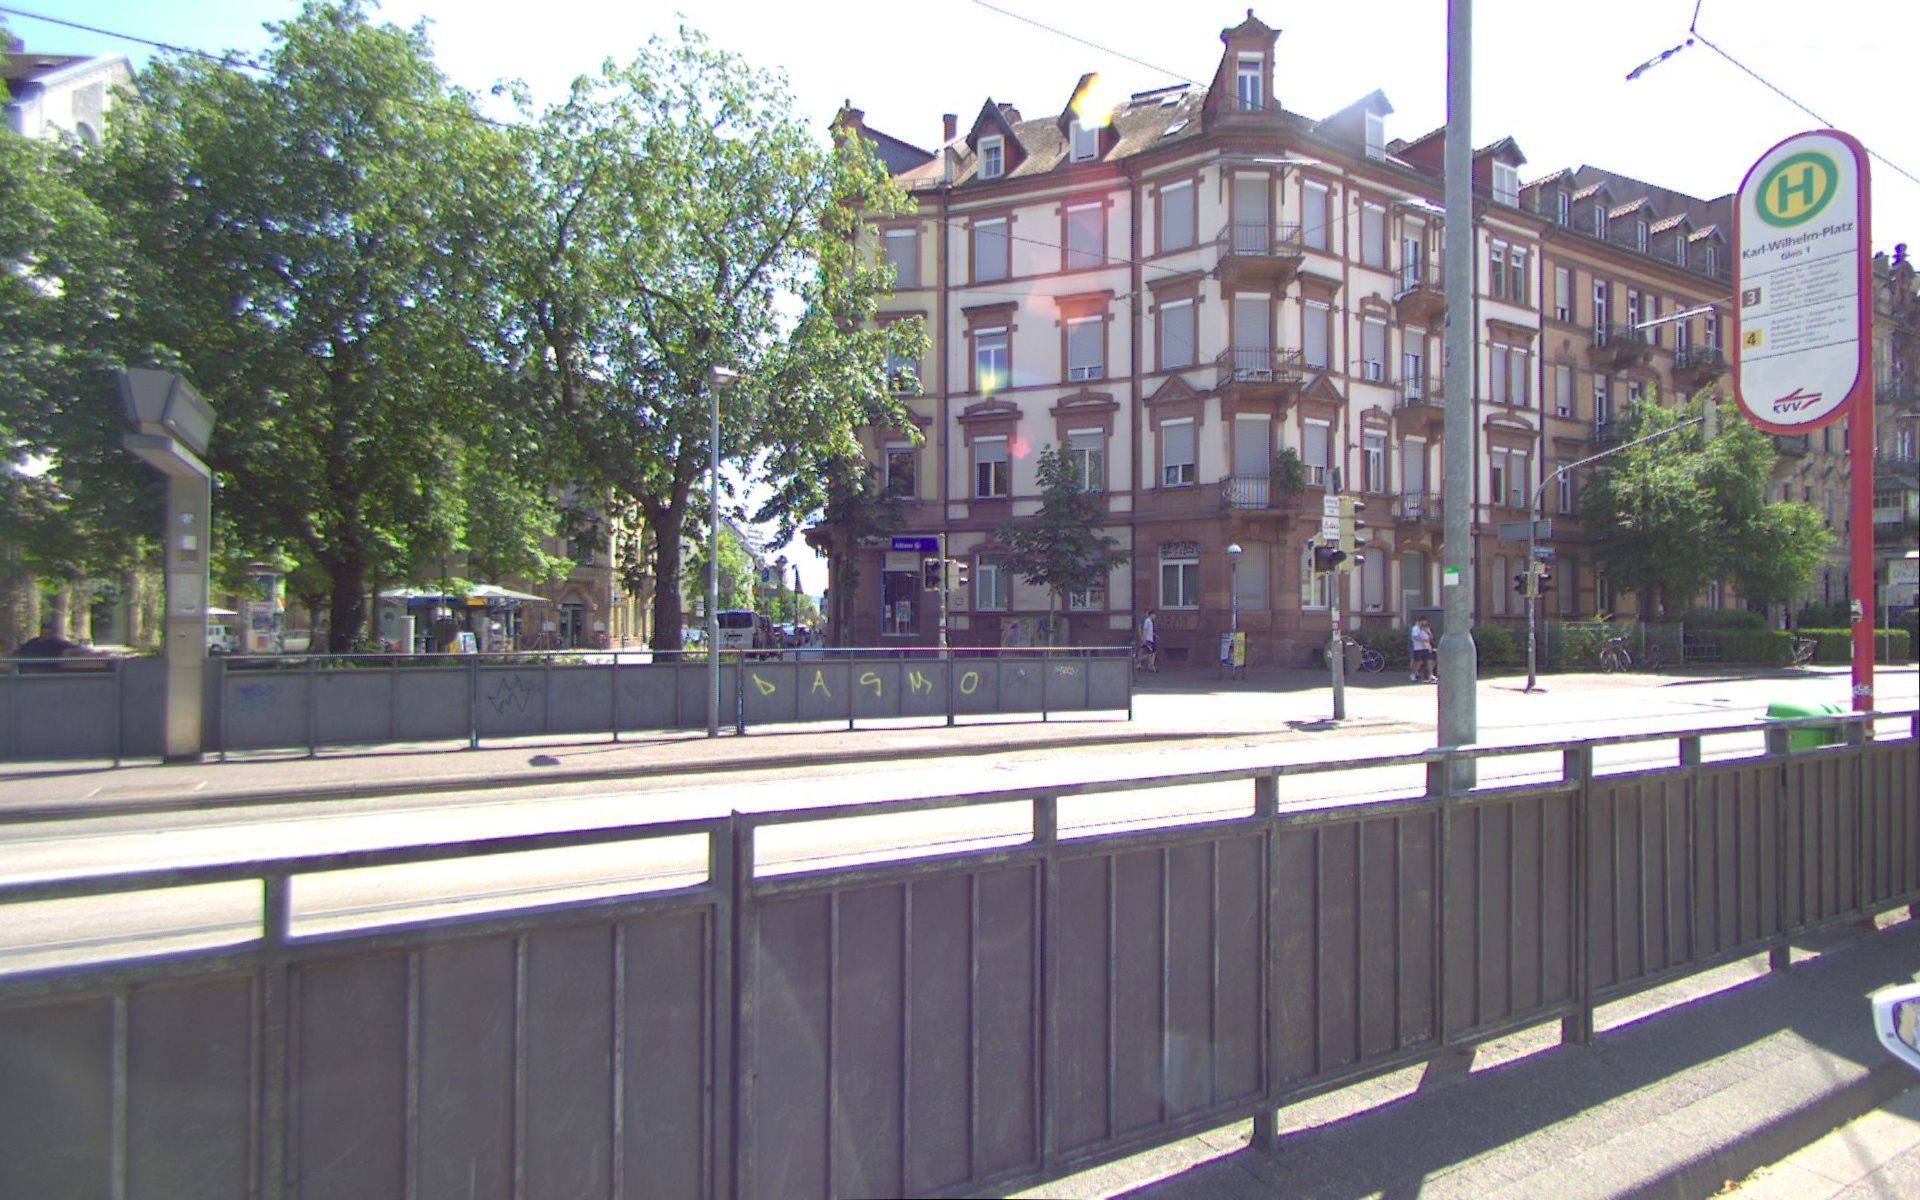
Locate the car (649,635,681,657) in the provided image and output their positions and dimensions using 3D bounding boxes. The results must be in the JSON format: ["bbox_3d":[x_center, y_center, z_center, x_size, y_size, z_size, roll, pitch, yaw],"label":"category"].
[{"bbox_3d":[-20.848,3.241,71.072,1.513,1.461,3.738,1,-1,-6],"label":"car"}]

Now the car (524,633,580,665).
[{"bbox_3d":[-20.294,2.434,50.113,1.512,1.461,3.739,1,-1,-5],"label":"car"}]

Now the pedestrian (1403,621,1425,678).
[{"bbox_3d":[12.506,1.363,27.684,0.497,1.536,0.469,1,-1,18],"label":"pedestrian"}]

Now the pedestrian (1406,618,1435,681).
[{"bbox_3d":[12.265,1.299,26.754,0.641,1.637,0.469,1,2,18],"label":"pedestrian"}]

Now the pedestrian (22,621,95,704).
[{"bbox_3d":[-14.582,0.991,16.259,0.607,1.304,0.646,1,-1,21],"label":"pedestrian"}]

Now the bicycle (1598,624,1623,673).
[{"bbox_3d":[19.945,1.464,30.798,0.606,1.414,2.301,0,-1,34],"label":"bicycle"}]

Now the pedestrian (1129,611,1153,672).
[{"bbox_3d":[5.434,1.234,30.114,0.500,1.791,0.527,0,-1,39],"label":"pedestrian"}]

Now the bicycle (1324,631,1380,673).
[{"bbox_3d":[11.618,1.531,29.794,1.494,1.185,0.364,0,0,34],"label":"bicycle"}]

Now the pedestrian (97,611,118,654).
[{"bbox_3d":[-32.904,1.241,38.771,0.520,1.644,0.493,1,-1,-30],"label":"pedestrian"}]

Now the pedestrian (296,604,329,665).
[{"bbox_3d":[-21.956,1.159,34.063,0.801,2.040,0.712,-1,-1,38],"label":"pedestrian"}]

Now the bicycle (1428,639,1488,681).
[{"bbox_3d":[13.310,1.600,26.877,1.375,1.027,0.389,2,0,21],"label":"bicycle"}]

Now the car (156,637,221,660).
[{"bbox_3d":[-31.140,1.931,40.542,0.847,0.876,1.910,0,-1,35],"label":"car"}]

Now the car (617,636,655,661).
[{"bbox_3d":[-20.634,3.052,64.094,1.513,1.461,3.738,1,-1,-6],"label":"car"}]

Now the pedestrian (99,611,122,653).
[{"bbox_3d":[-33.174,1.246,39.233,0.554,1.644,0.510,1,-1,-30],"label":"pedestrian"}]

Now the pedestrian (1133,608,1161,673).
[{"bbox_3d":[5.438,1.158,29.181,0.556,1.849,0.632,0,-1,39],"label":"pedestrian"}]

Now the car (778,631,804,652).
[{"bbox_3d":[-12.554,3.044,74.786,1.512,1.461,3.739,1,-1,-5],"label":"car"}]

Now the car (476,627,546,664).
[{"bbox_3d":[-18.863,1.895,42.385,1.512,1.461,3.739,1,-1,-5],"label":"car"}]

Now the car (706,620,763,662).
[{"bbox_3d":[-8.230,1.463,36.948,1.512,1.461,3.739,1,-1,-5],"label":"car"}]

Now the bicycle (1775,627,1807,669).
[{"bbox_3d":[28.524,1.618,34.517,0.583,1.374,2.434,0,-1,34],"label":"bicycle"}]
